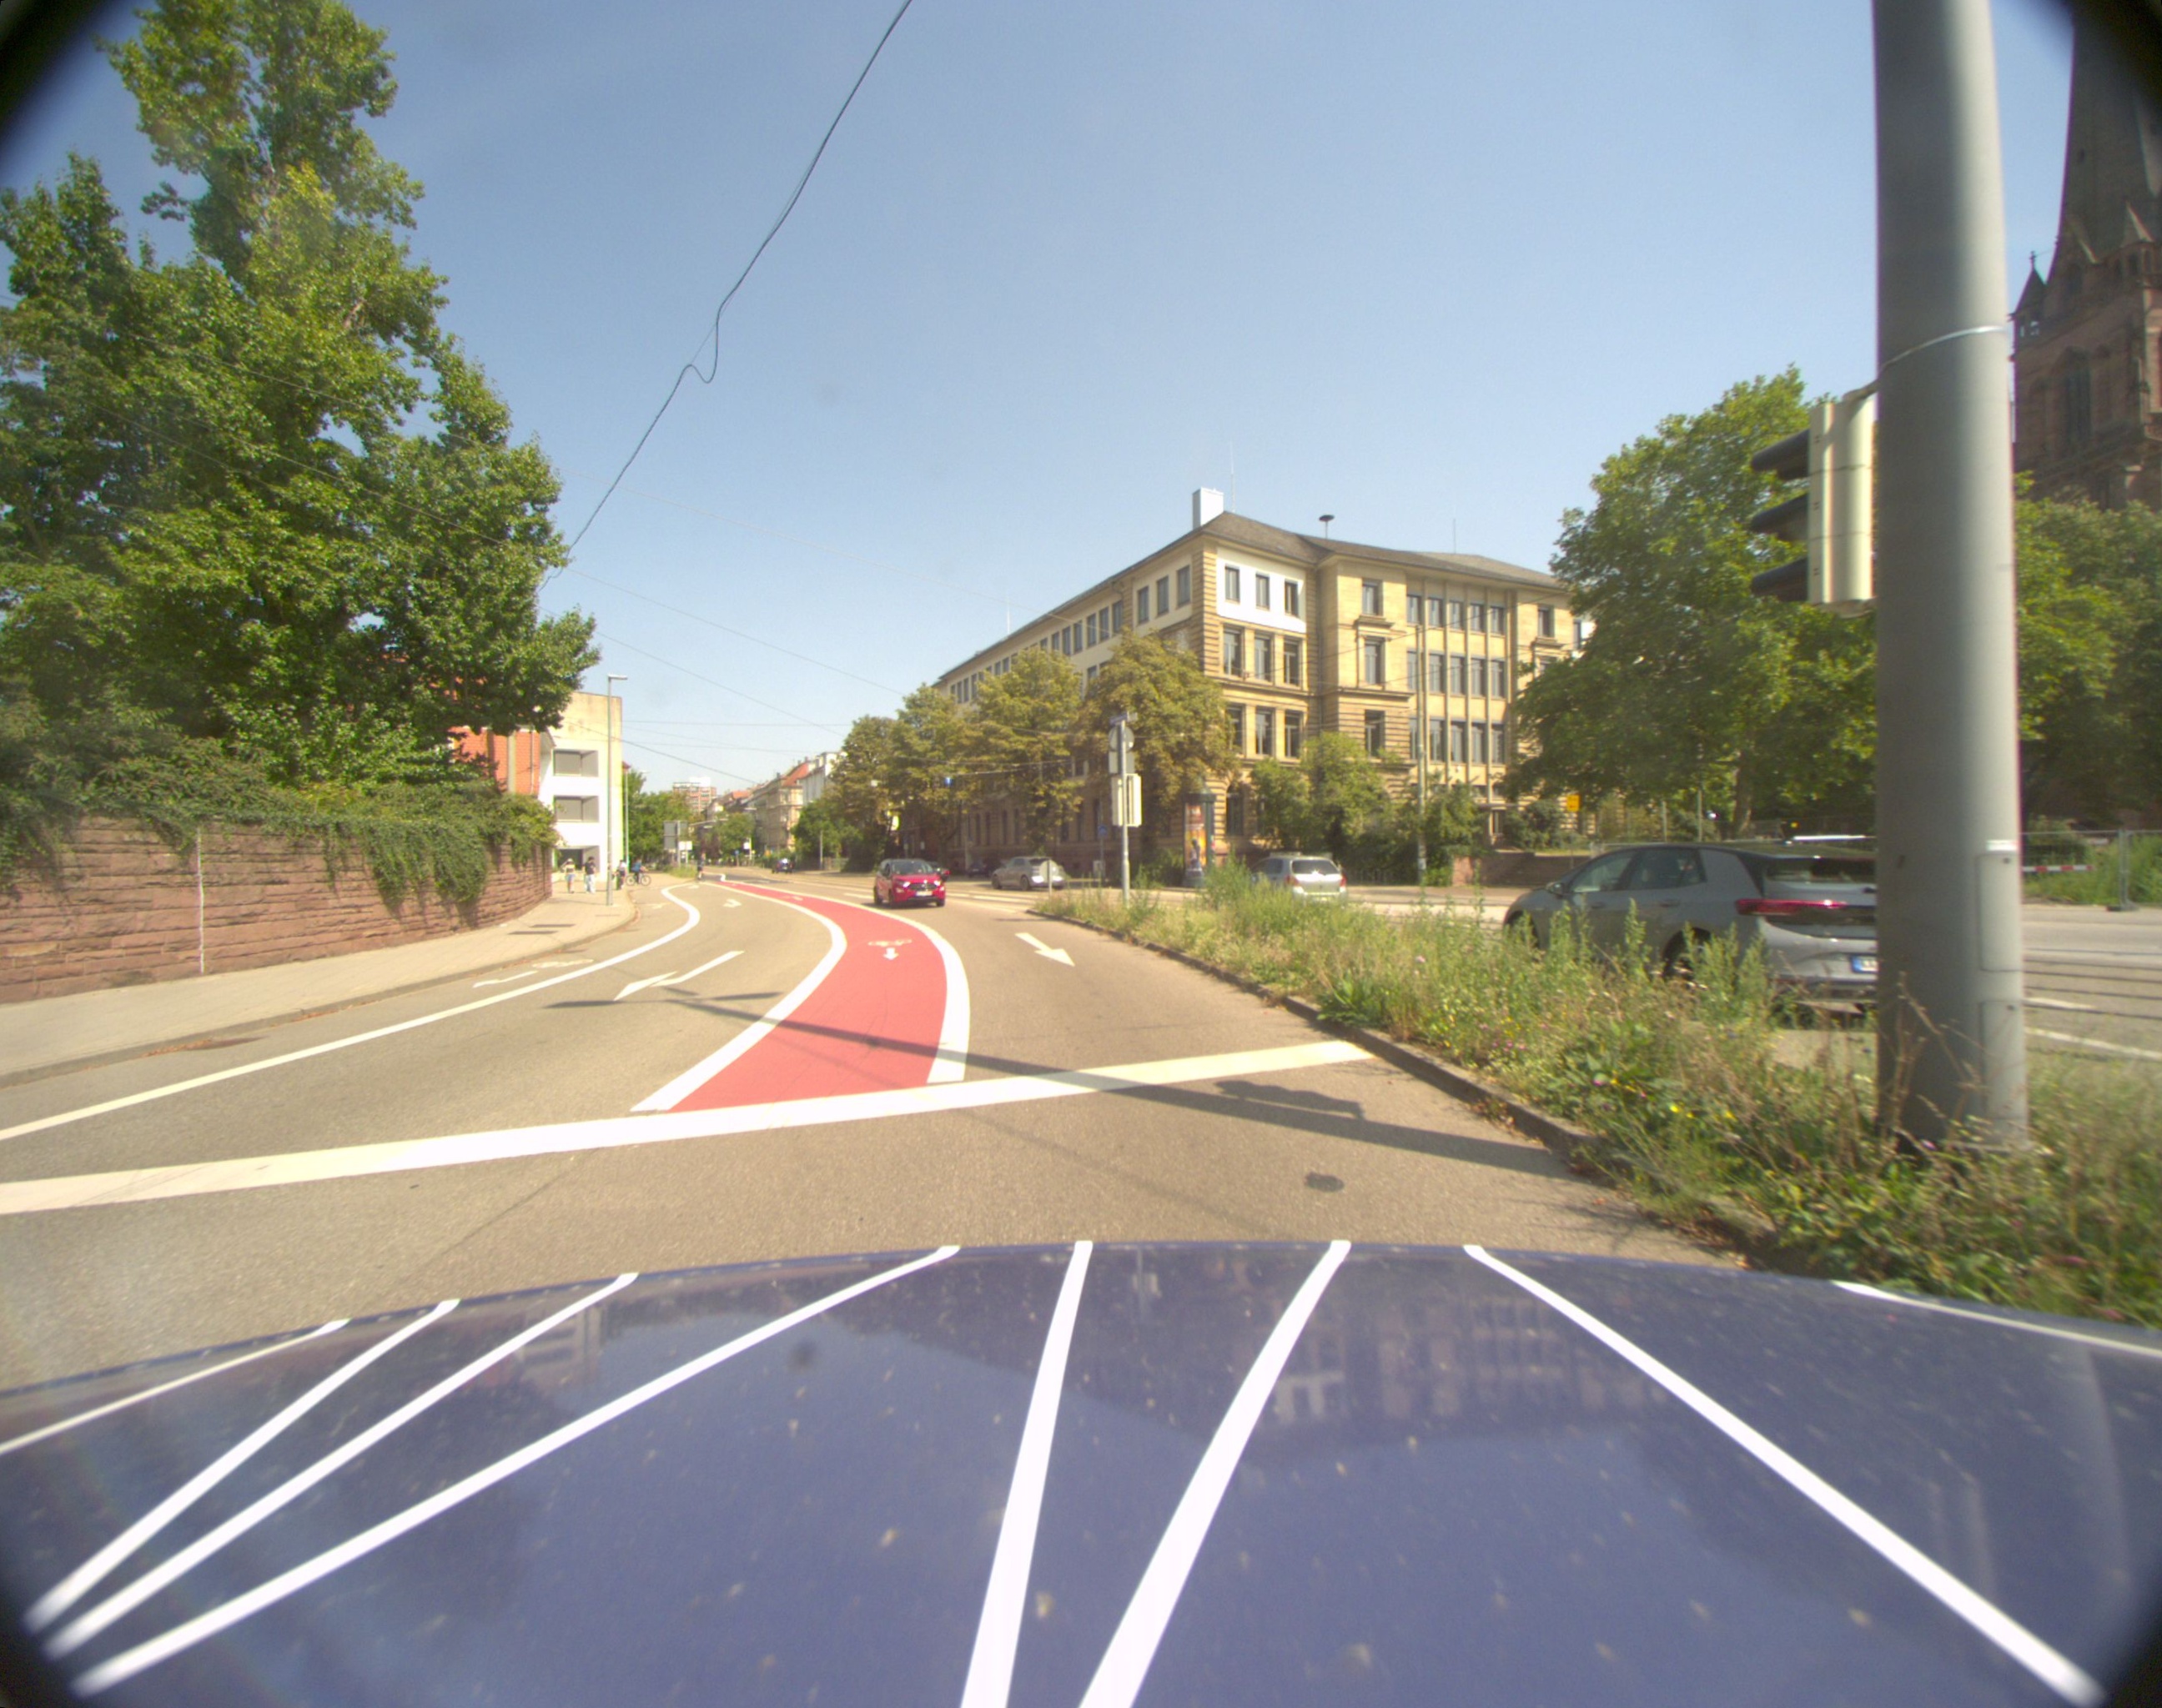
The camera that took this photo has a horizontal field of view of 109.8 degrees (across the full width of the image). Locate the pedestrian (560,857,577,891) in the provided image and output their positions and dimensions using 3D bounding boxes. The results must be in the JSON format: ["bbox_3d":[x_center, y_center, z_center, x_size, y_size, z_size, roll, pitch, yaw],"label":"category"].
[{"bbox_3d":[-24.954,0.969,37.021,0.621,1.656,0.486,-2,1,-32],"label":"pedestrian"}]

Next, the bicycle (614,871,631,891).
[{"bbox_3d":[-25.289,1.466,41.900,0.743,1.042,2.228,-1,0,-31],"label":"bicycle"}]

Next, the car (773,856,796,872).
[{"bbox_3d":[-32.812,1.072,84.011,1.699,1.645,3.572,-2,1,-31],"label":"car"}]

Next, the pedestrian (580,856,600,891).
[{"bbox_3d":[-24.103,0.946,37.342,0.731,1.656,0.877,-2,1,-29],"label":"pedestrian"}]

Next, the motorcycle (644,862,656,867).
[{"bbox_3d":[-90.019,2.136,158.626,2.005,1.009,0.794,3,-2,-32],"label":"motorcycle"}]

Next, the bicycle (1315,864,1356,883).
[{"bbox_3d":[12.629,0.942,37.658,2.184,0.889,0.748,-1,0,-35],"label":"bicycle"}]

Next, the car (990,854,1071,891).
[{"bbox_3d":[-2.431,0.827,35.443,1.780,1.601,4.662,-1,0,-31],"label":"car"}]

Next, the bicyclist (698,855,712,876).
[{"bbox_3d":[-28.784,0.848,58.163,0.628,1.589,0.992,-1,0,-2],"label":"bicyclist"}]

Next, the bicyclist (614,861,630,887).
[{"bbox_3d":[-25.243,1.106,41.785,0.748,1.403,0.959,-1,1,-31],"label":"bicyclist"}]

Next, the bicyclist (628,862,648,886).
[{"bbox_3d":[-29.452,1.340,50.498,0.627,1.530,0.905,1,-1,14],"label":"bicyclist"}]

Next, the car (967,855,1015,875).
[{"bbox_3d":[-6.779,0.814,57.789,1.817,1.487,4.170,-1,0,21],"label":"car"}]

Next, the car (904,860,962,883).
[{"bbox_3d":[-9.483,1.096,48.461,1.696,1.370,4.605,-1,0,-39],"label":"car"}]

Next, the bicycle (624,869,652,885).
[{"bbox_3d":[-29.445,1.523,50.533,0.615,0.994,1.713,0,-1,15],"label":"bicycle"}]

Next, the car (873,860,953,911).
[{"bbox_3d":[-5.763,0.985,25.712,1.819,1.542,4.013,-2,0,-24],"label":"car"}]

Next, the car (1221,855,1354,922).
[{"bbox_3d":[5.193,0.802,19.754,1.656,1.521,4.321,-1,0,-10],"label":"car"}]

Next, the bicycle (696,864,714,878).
[{"bbox_3d":[-28.805,1.298,58.176,0.616,0.994,1.711,0,-1,-4],"label":"bicycle"}]

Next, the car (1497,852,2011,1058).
[{"bbox_3d":[6.113,0.749,7.720,1.700,1.521,4.184,-1,0,4],"label":"car"}]
